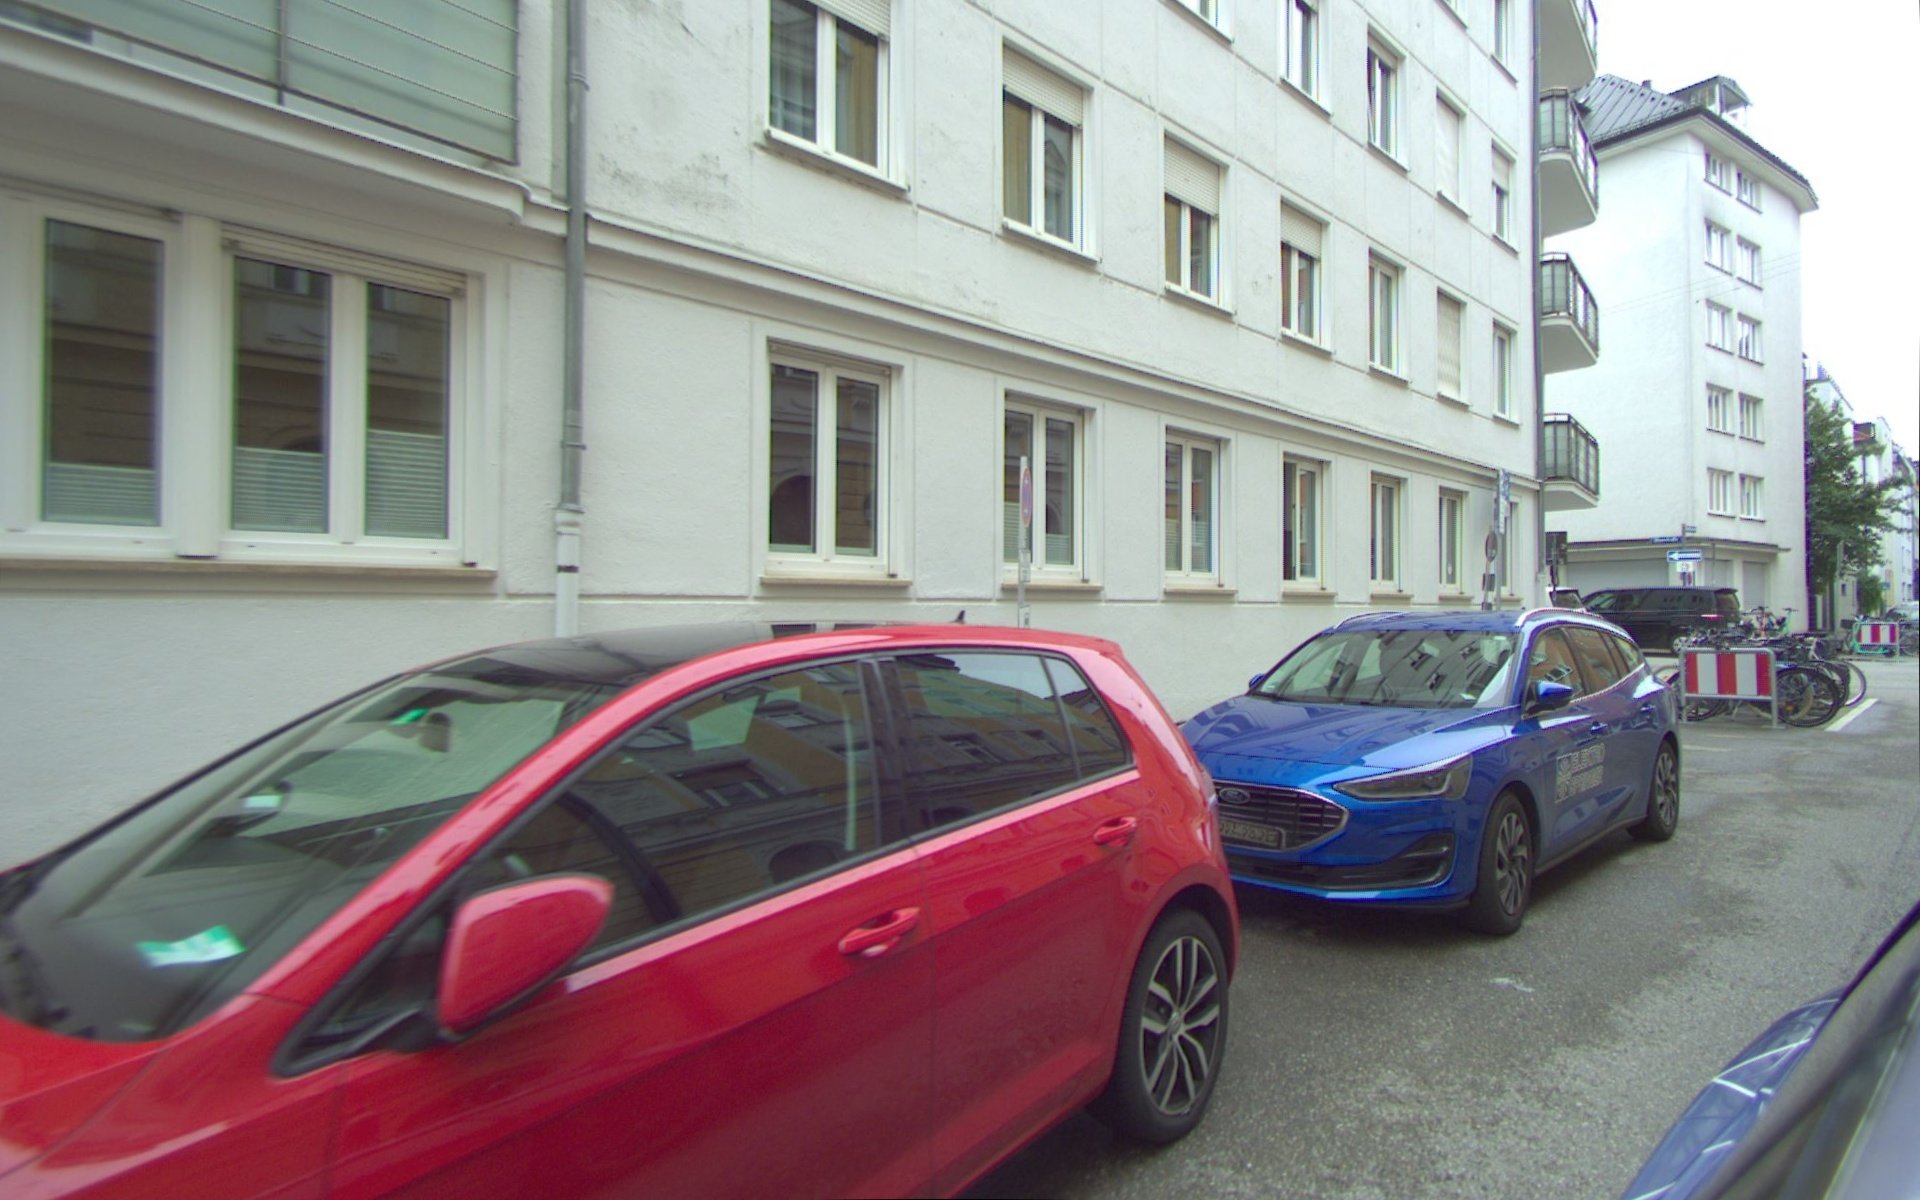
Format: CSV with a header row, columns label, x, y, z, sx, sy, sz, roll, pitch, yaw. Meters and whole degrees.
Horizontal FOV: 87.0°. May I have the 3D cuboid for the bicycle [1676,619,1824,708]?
label,x,y,z,sx,sy,sz,roll,pitch,yaw
bicycle,10.641,0.825,13.678,0.353,1.056,1.523,0,2,-35

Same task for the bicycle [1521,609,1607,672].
label,x,y,z,sx,sy,sz,roll,pitch,yaw
bicycle,10.948,0.724,18.377,1.284,1.056,0.395,2,1,29

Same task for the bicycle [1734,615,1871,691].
label,x,y,z,sx,sy,sz,roll,pitch,yaw
bicycle,13.861,0.842,16.684,0.411,1.175,1.696,0,-1,-43

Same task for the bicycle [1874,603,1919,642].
label,x,y,z,sx,sy,sz,roll,pitch,yaw
bicycle,30.000,0.702,31.978,0.520,1.229,1.607,0,0,-40

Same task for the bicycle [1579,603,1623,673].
label,x,y,z,sx,sy,sz,roll,pitch,yaw
bicycle,12.026,0.690,19.025,0.394,1.219,1.495,1,1,22

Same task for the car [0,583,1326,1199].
label,x,y,z,sx,sy,sz,roll,pitch,yaw
car,-0.806,0.745,2.420,1.758,1.465,4.235,-3,-2,41

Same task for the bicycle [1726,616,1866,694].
label,x,y,z,sx,sy,sz,roll,pitch,yaw
bicycle,13.336,0.847,16.186,0.308,1.175,1.696,1,-1,-43

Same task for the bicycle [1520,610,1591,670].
label,x,y,z,sx,sy,sz,roll,pitch,yaw
bicycle,11.173,0.735,19.016,1.118,1.056,0.395,2,1,29

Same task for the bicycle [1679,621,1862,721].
label,x,y,z,sx,sy,sz,roll,pitch,yaw
bicycle,9.925,0.837,12.452,0.354,1.056,1.705,0,2,-42

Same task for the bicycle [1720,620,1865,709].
label,x,y,z,sx,sy,sz,roll,pitch,yaw
bicycle,11.157,0.834,13.606,0.353,1.056,1.444,0,2,-34

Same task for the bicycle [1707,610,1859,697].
label,x,y,z,sx,sy,sz,roll,pitch,yaw
bicycle,11.837,0.738,14.603,0.372,1.175,1.663,1,-1,-43

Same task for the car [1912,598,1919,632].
label,x,y,z,sx,sy,sz,roll,pitch,yaw
car,42.638,0.644,43.947,3.933,1.416,1.651,0,0,-43

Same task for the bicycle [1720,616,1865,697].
label,x,y,z,sx,sy,sz,roll,pitch,yaw
bicycle,12.823,0.845,15.632,0.372,1.175,1.696,1,-1,-43

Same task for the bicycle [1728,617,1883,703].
label,x,y,z,sx,sy,sz,roll,pitch,yaw
bicycle,12.308,0.845,14.780,0.372,1.175,1.696,1,-1,-43

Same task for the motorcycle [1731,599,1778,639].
label,x,y,z,sx,sy,sz,roll,pitch,yaw
motorcycle,25.440,0.597,32.401,1.899,1.248,0.660,0,0,-36

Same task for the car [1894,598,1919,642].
label,x,y,z,sx,sy,sz,roll,pitch,yaw
car,32.317,0.626,33.593,3.933,1.416,1.651,0,0,-43

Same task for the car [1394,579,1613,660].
label,x,y,z,sx,sy,sz,roll,pitch,yaw
car,13.857,0.451,26.073,1.897,1.896,4.621,0,0,-35

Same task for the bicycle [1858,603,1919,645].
label,x,y,z,sx,sy,sz,roll,pitch,yaw
bicycle,28.151,0.716,30.479,0.520,1.229,1.607,0,0,-40

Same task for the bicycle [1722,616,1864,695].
label,x,y,z,sx,sy,sz,roll,pitch,yaw
bicycle,13.080,0.843,15.930,0.372,1.175,1.696,1,-1,-43

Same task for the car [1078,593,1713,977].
label,x,y,z,sx,sy,sz,roll,pitch,yaw
car,2.808,0.724,5.979,4.308,1.457,1.796,0,-2,-42

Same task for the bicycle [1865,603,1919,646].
label,x,y,z,sx,sy,sz,roll,pitch,yaw
bicycle,27.888,0.721,29.946,0.520,1.229,1.607,0,0,-40

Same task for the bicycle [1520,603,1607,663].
label,x,y,z,sx,sy,sz,roll,pitch,yaw
bicycle,13.457,0.716,22.596,0.463,1.229,1.610,0,2,-34

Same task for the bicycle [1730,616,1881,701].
label,x,y,z,sx,sy,sz,roll,pitch,yaw
bicycle,12.565,0.843,15.080,0.372,1.175,1.696,1,-1,-43

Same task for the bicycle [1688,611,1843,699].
label,x,y,z,sx,sy,sz,roll,pitch,yaw
bicycle,11.447,0.744,14.430,0.372,1.175,1.696,1,-1,-43

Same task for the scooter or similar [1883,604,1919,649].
label,x,y,z,sx,sy,sz,roll,pitch,yaw
scooter or similar,26.731,0.734,28.301,0.338,1.229,1.340,0,0,-40

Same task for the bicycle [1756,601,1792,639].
label,x,y,z,sx,sy,sz,roll,pitch,yaw
bicycle,27.066,0.647,33.633,1.579,1.229,0.529,0,0,-36

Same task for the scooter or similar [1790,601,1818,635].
label,x,y,z,sx,sy,sz,roll,pitch,yaw
scooter or similar,29.528,0.620,35.393,1.465,1.181,0.407,0,0,-36

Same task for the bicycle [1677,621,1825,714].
label,x,y,z,sx,sy,sz,roll,pitch,yaw
bicycle,10.089,0.832,12.952,0.324,1.056,1.441,0,2,-34

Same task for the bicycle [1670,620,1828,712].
label,x,y,z,sx,sy,sz,roll,pitch,yaw
bicycle,10.288,0.830,13.261,0.317,1.056,1.593,0,2,-34

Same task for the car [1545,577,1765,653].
label,x,y,z,sx,sy,sz,roll,pitch,yaw
car,19.070,0.390,27.986,1.896,1.915,4.683,1,0,-35

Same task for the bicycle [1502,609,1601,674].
label,x,y,z,sx,sy,sz,roll,pitch,yaw
bicycle,10.496,0.725,18.003,1.488,1.056,0.395,2,1,29

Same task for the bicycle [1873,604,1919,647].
label,x,y,z,sx,sy,sz,roll,pitch,yaw
bicycle,27.639,0.725,29.386,0.520,1.229,1.607,0,0,-40

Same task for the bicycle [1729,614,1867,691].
label,x,y,z,sx,sy,sz,roll,pitch,yaw
bicycle,13.565,0.825,16.417,0.308,1.175,1.696,1,-1,-43
